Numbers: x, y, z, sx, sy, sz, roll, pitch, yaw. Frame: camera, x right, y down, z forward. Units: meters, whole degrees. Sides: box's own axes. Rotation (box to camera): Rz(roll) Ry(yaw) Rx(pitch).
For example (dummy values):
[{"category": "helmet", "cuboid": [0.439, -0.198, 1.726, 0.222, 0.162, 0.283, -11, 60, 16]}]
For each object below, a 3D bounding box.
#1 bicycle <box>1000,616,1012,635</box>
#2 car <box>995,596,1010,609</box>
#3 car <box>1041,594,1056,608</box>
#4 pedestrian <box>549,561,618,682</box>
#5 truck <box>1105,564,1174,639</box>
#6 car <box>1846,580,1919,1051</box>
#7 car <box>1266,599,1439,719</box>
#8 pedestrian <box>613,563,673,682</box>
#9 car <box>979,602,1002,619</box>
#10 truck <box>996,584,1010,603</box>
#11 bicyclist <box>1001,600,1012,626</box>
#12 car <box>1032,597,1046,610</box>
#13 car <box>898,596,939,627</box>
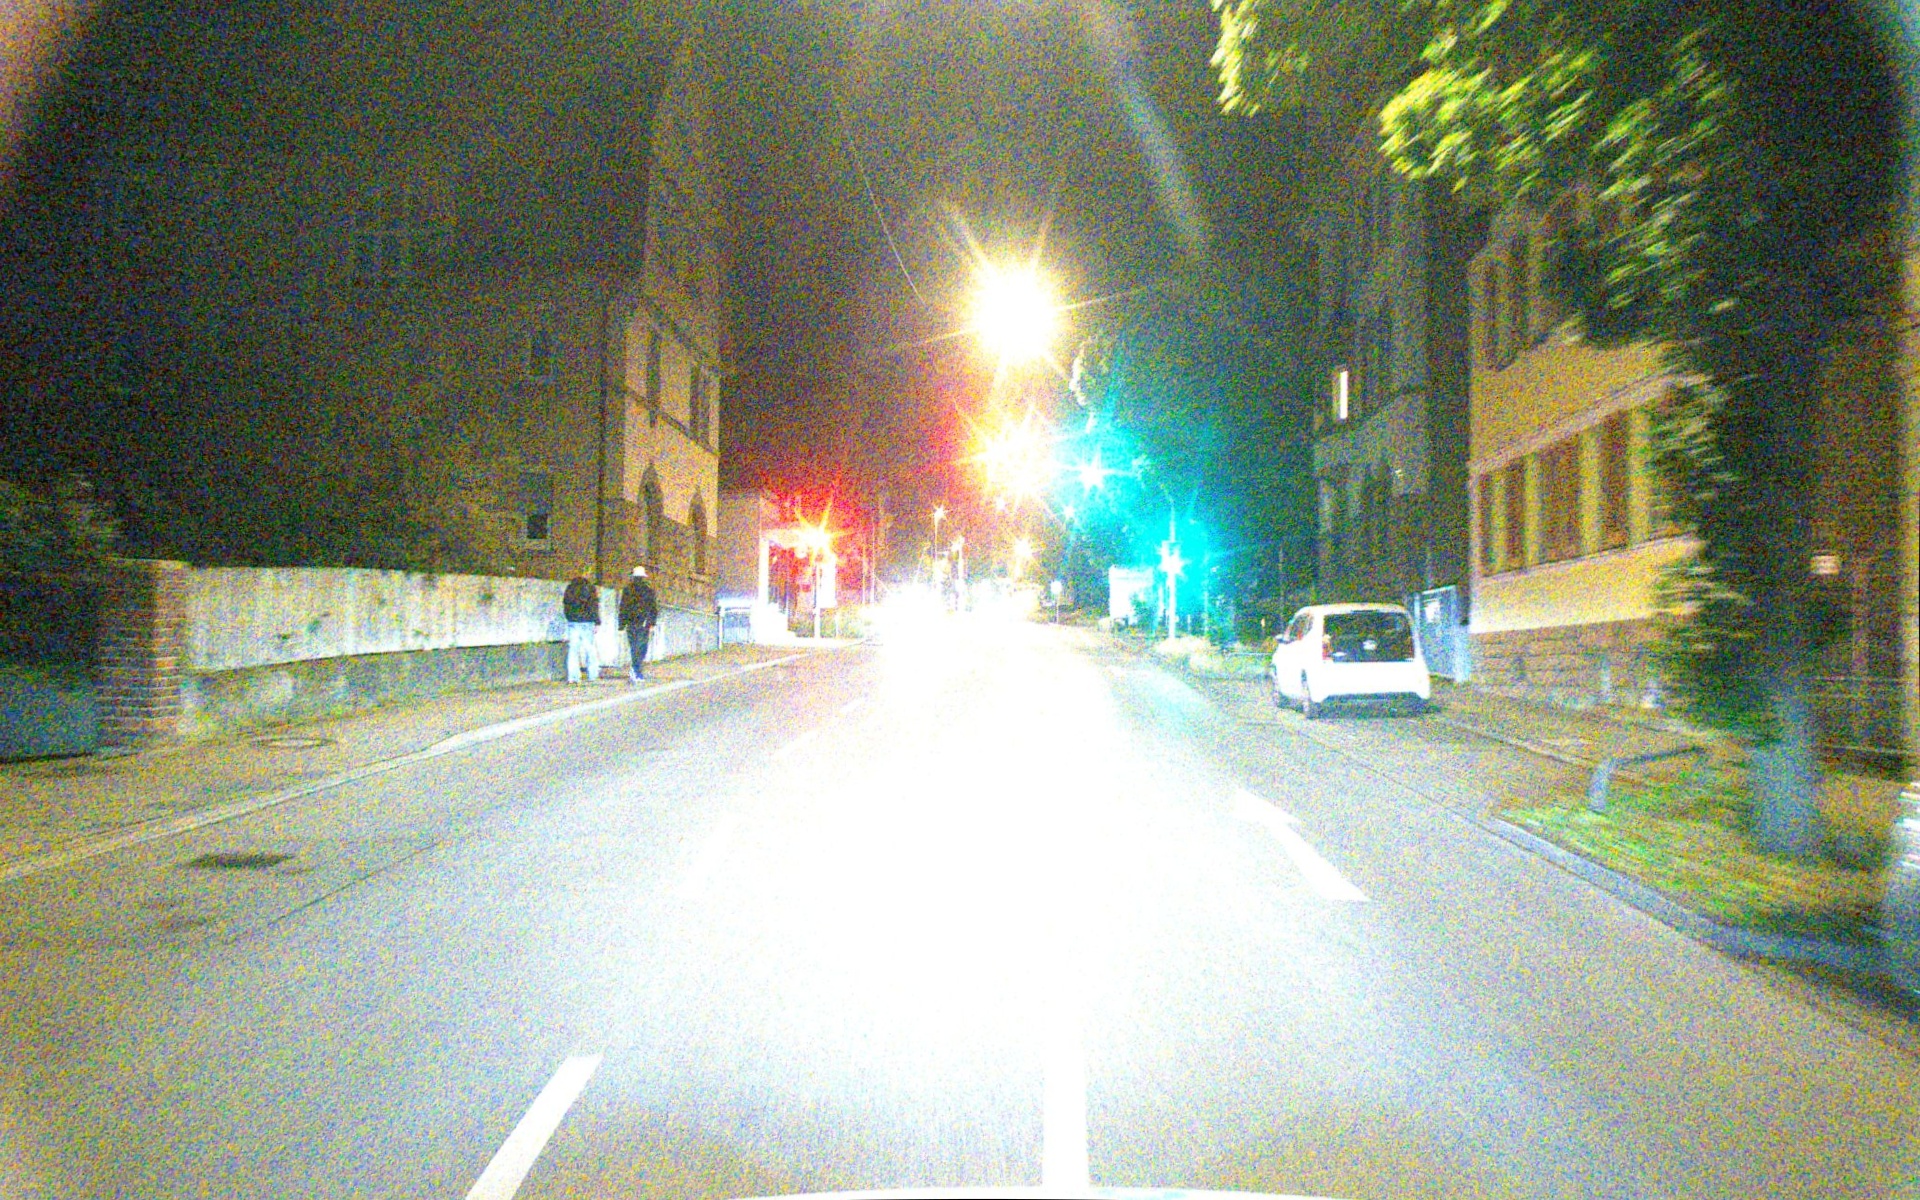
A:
[{"category": "bicycle", "cuboid": [3.013, 1.663, 108.297, 0.681, 1.169, 1.951, 1, -1, 2]}, {"category": "car", "cuboid": [5.185, 0.353, 201.109, 1.778, 1.517, 4.000, 1, 0, 1]}, {"category": "car", "cuboid": [9.862, 0.116, 183.559, 1.600, 1.477, 3.486, 1, 0, 2]}, {"category": "pedestrian", "cuboid": [-5.658, 0.318, 24.906, 0.727, 1.776, 1.103, 1, -1, 1]}, {"category": "truck", "cuboid": [8.037, 0.073, 74.558, 2.692, 3.165, 6.260, 1, 0, 3]}, {"category": "car", "cuboid": [4.105, 0.704, 3.933, 1.821, 1.581, 4.045, -1, 0, 0]}, {"category": "car", "cuboid": [5.392, 0.761, 23.106, 1.633, 1.510, 3.604, -1, 0, 2]}, {"category": "pedestrian", "cuboid": [-4.851, 0.337, 25.371, 0.661, 1.776, 1.029, 1, -1, 1]}, {"category": "car", "cuboid": [2.657, 0.876, 142.963, 1.877, 1.413, 4.584, 1, 0, 2]}, {"category": "truck", "cuboid": [6.527, -0.975, 250.157, 2.043, 2.897, 5.832, 1, 0, 1]}, {"category": "bicyclist", "cuboid": [3.029, 0.840, 108.314, 0.676, 1.666, 0.896, 1, -1, 2]}, {"category": "car", "cuboid": [9.511, 0.387, 199.580, 1.600, 1.477, 3.486, 1, 0, 2]}, {"category": "car", "cuboid": [-2.168, 0.610, 87.214, 1.818, 1.561, 4.029, 1, 0, 2]}]
